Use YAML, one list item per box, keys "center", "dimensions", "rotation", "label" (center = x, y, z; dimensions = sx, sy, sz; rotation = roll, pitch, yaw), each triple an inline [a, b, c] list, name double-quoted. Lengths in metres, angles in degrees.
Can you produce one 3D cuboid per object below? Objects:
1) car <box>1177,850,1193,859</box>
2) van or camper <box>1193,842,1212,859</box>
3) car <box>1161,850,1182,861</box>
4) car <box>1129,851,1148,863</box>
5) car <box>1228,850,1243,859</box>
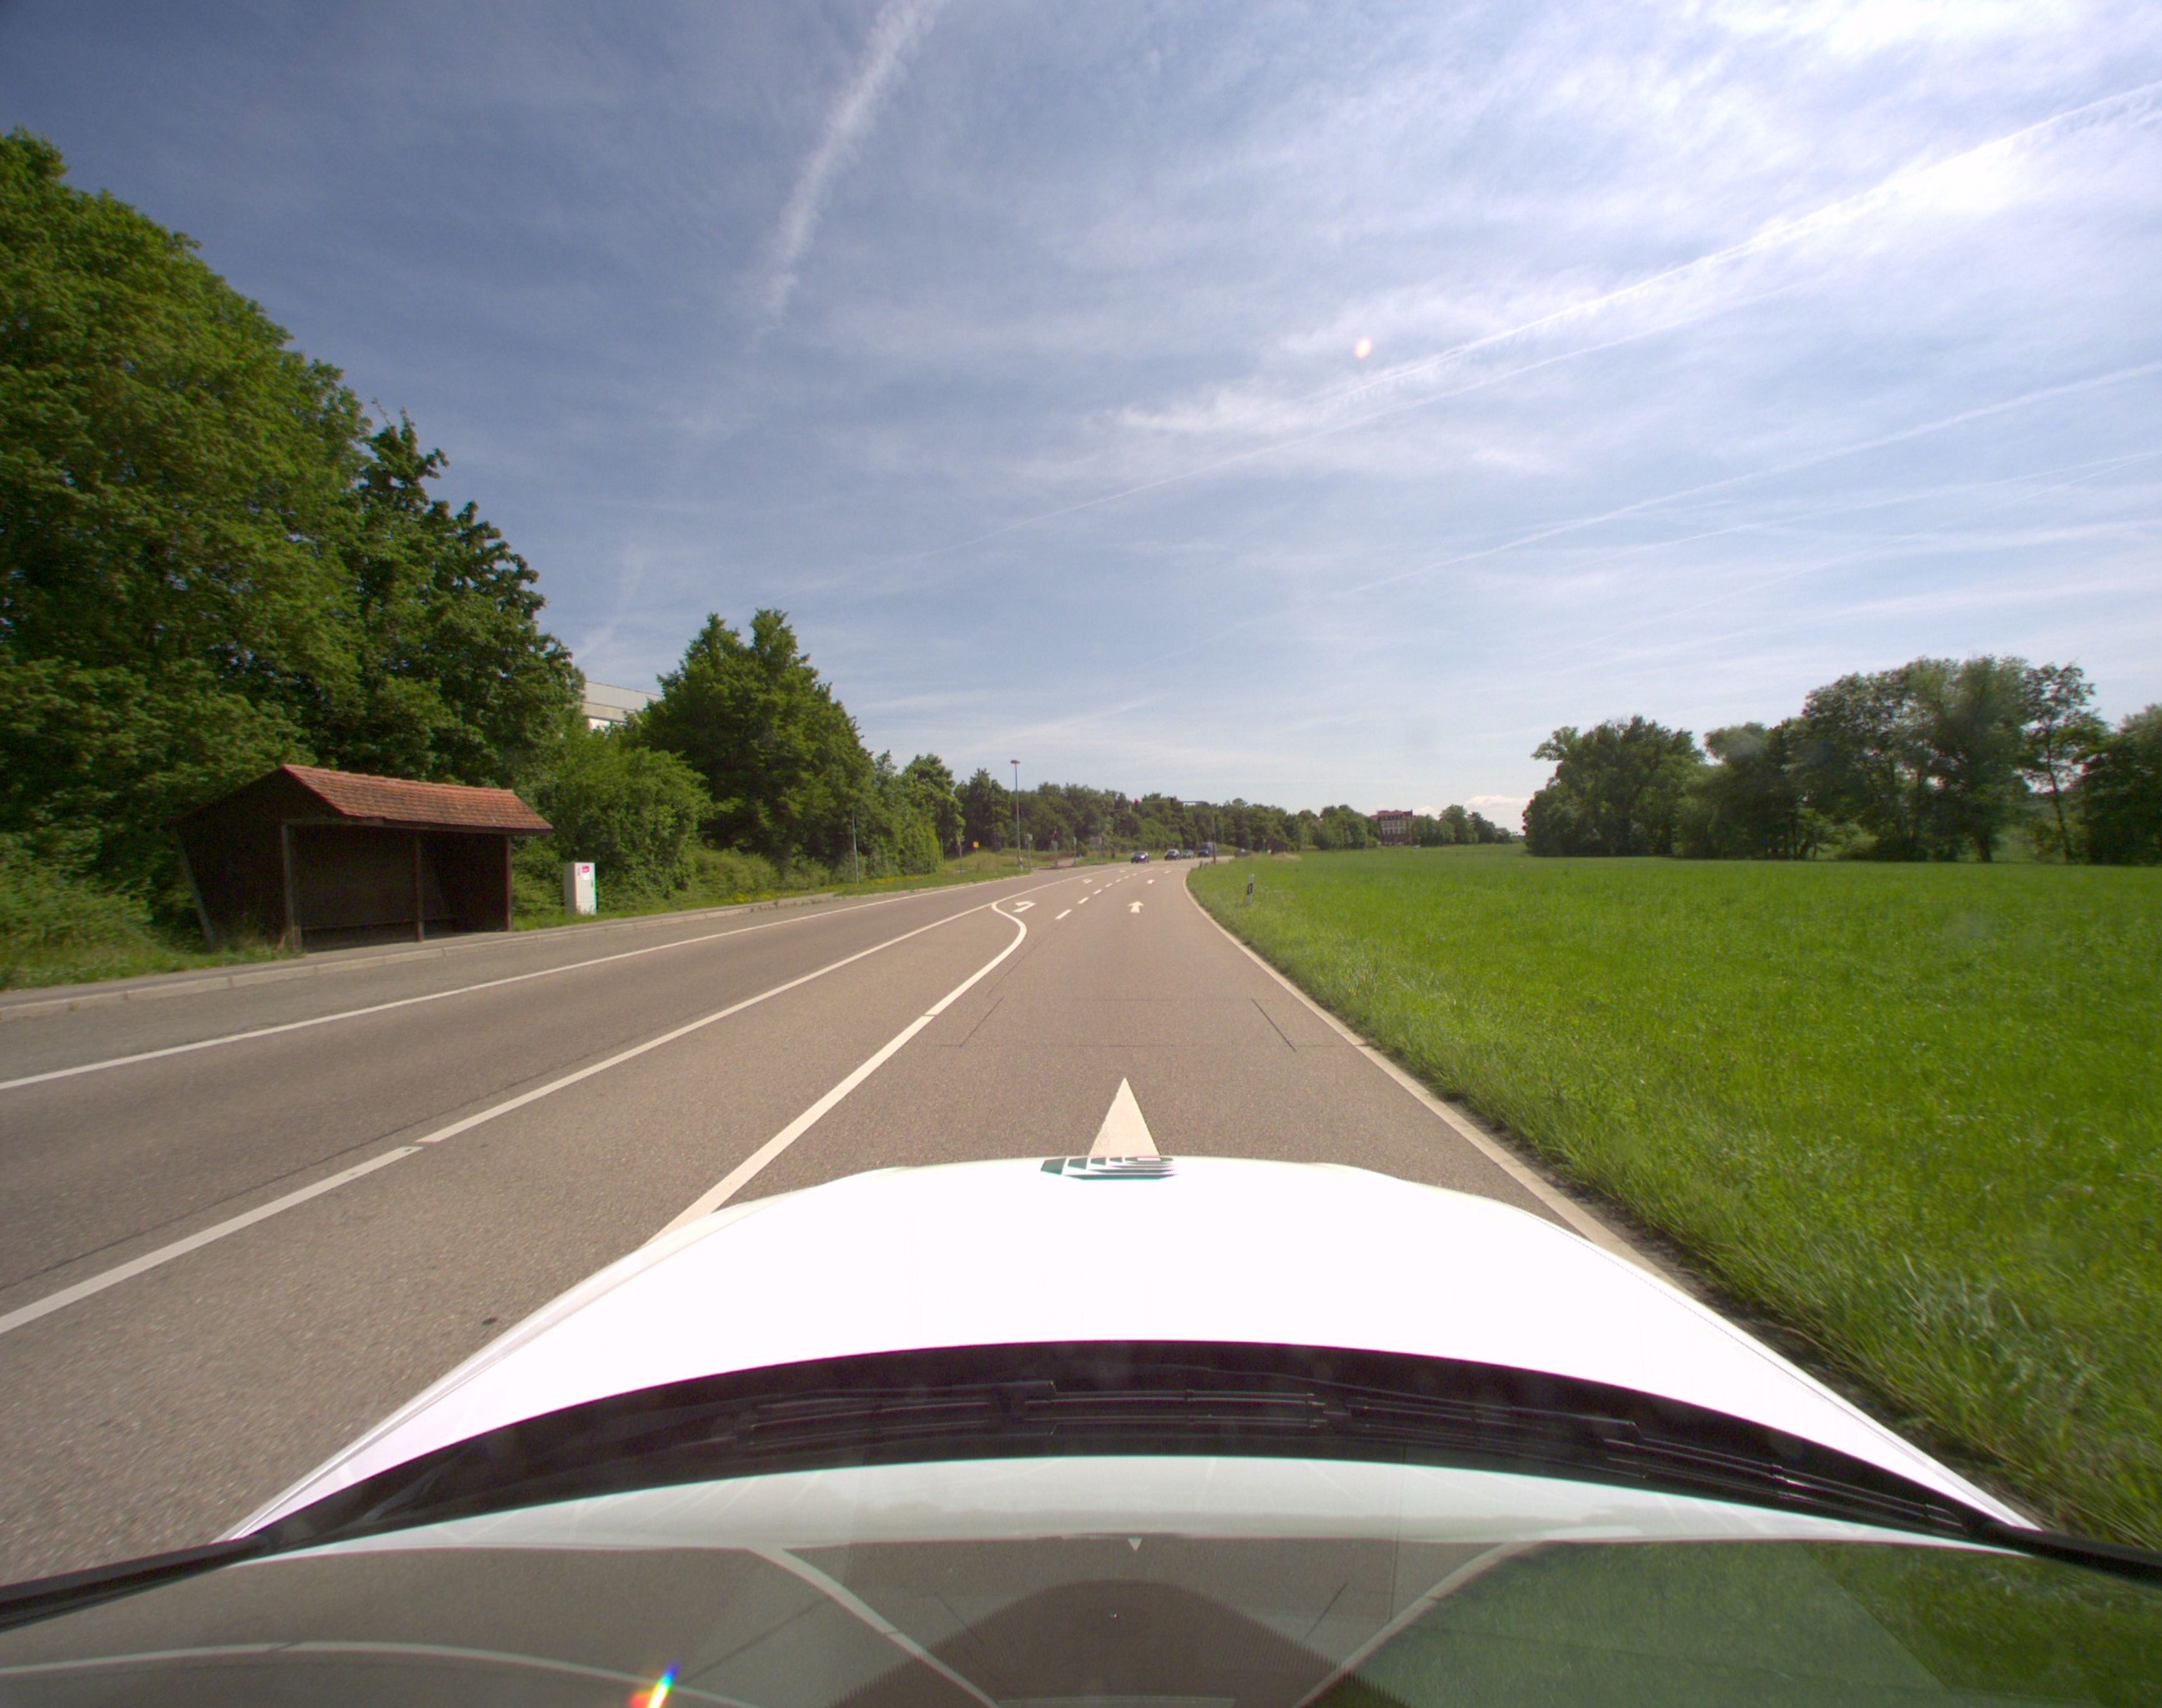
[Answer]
- center: [17.266, 0.118, 135.078]
  dimensions: [1.692, 1.483, 3.851]
  rotation: [-1, 0, 20]
  label: "car"
- center: [22.490, -0.663, 150.465]
  dimensions: [2.222, 2.913, 7.281]
  rotation: [-1, 1, 18]
  label: "van or camper"
- center: [13.459, 0.192, 120.998]
  dimensions: [1.956, 1.562, 4.212]
  rotation: [-1, 0, 24]
  label: "car"
- center: [7.223, 0.364, 102.190]
  dimensions: [1.780, 1.474, 4.323]
  rotation: [-1, 0, 11]
  label: "car"
- center: [28.151, 0.019, 147.995]
  dimensions: [1.976, 1.574, 4.021]
  rotation: [-1, 0, 21]
  label: "car"
